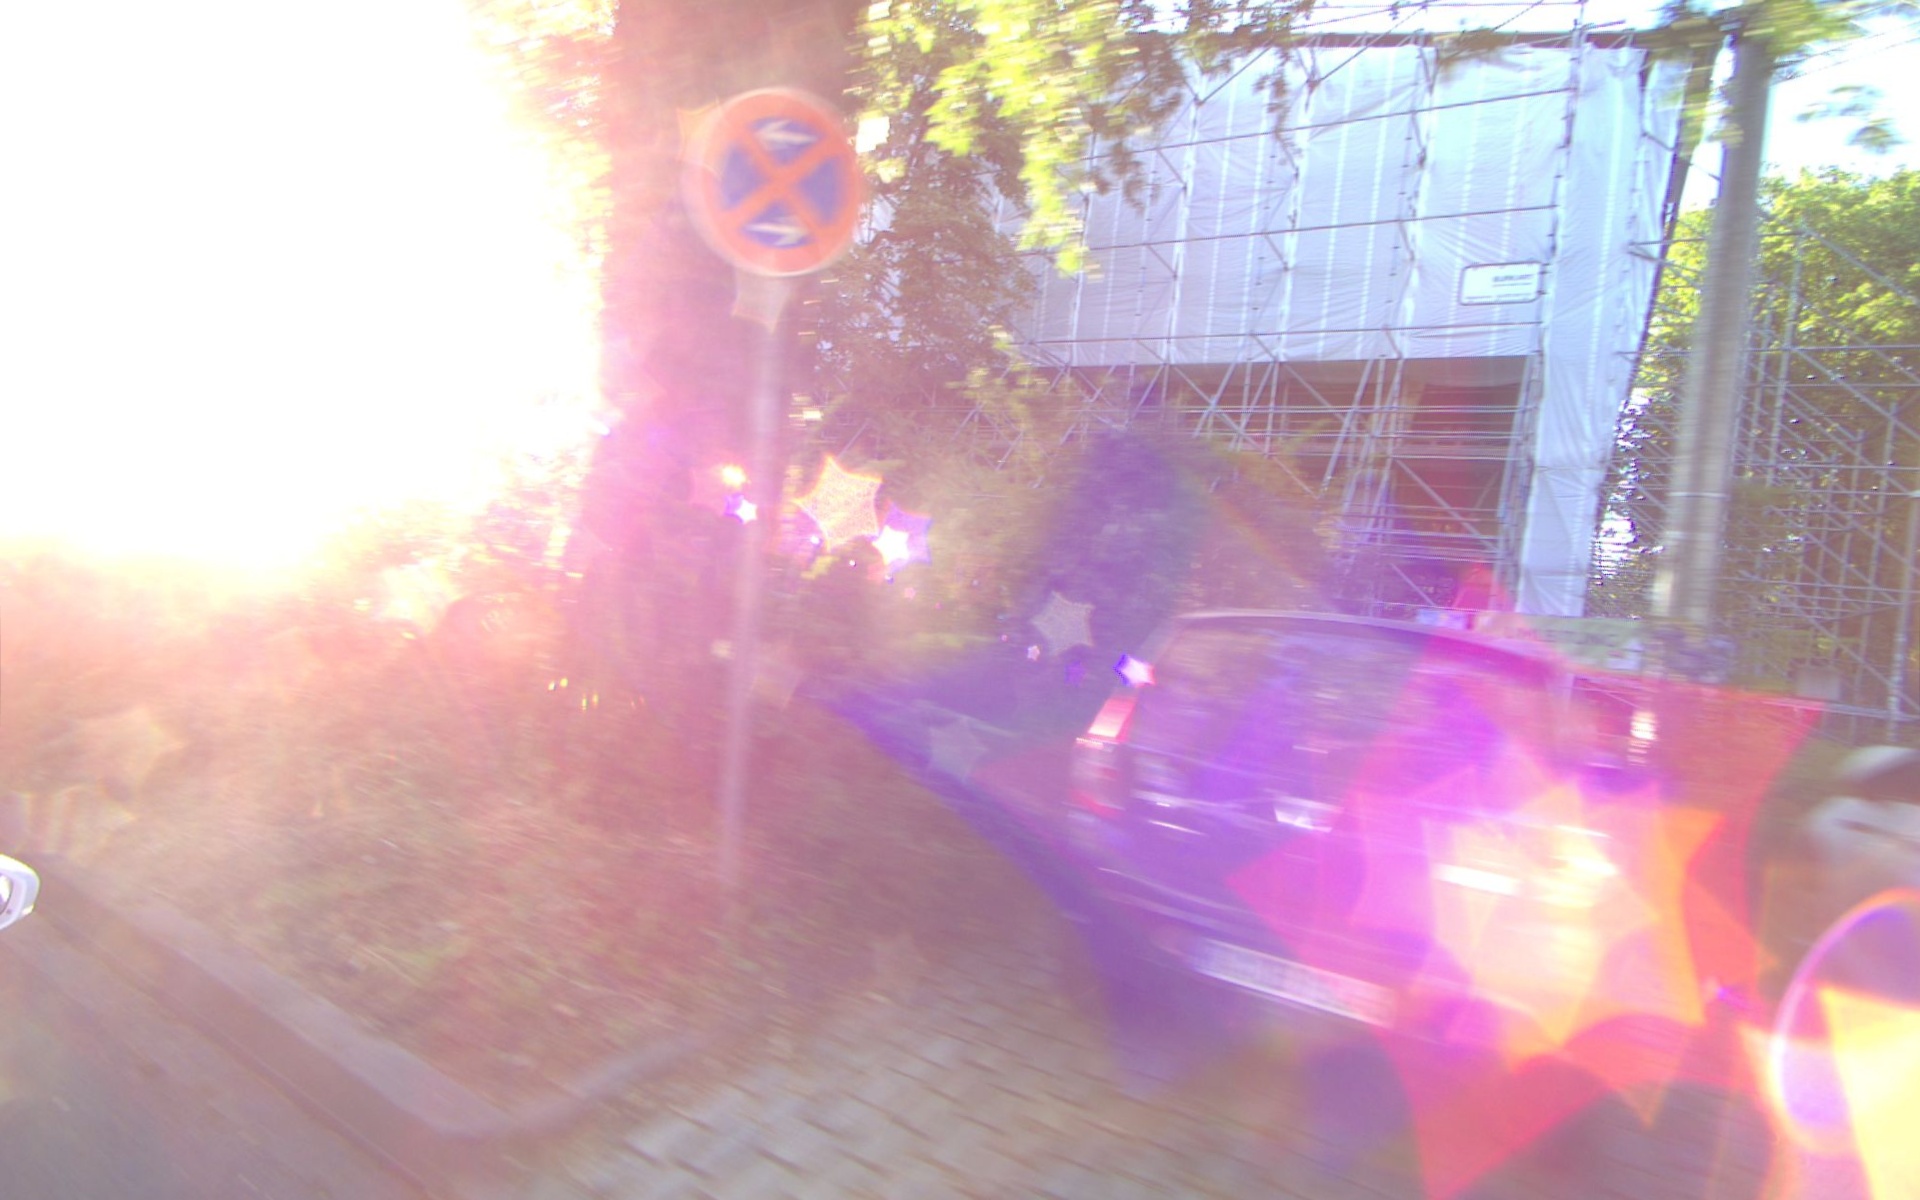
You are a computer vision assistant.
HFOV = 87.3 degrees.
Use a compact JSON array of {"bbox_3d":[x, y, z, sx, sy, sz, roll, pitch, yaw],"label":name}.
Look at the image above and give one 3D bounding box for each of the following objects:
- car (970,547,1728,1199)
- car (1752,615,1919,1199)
[{"bbox_3d":[1.500,0.791,4.048,1.654,1.511,3.201,7,-1,24],"label":"car"},{"bbox_3d":[3.600,1.011,2.640,1.837,1.730,4.174,7,-1,33],"label":"car"}]
